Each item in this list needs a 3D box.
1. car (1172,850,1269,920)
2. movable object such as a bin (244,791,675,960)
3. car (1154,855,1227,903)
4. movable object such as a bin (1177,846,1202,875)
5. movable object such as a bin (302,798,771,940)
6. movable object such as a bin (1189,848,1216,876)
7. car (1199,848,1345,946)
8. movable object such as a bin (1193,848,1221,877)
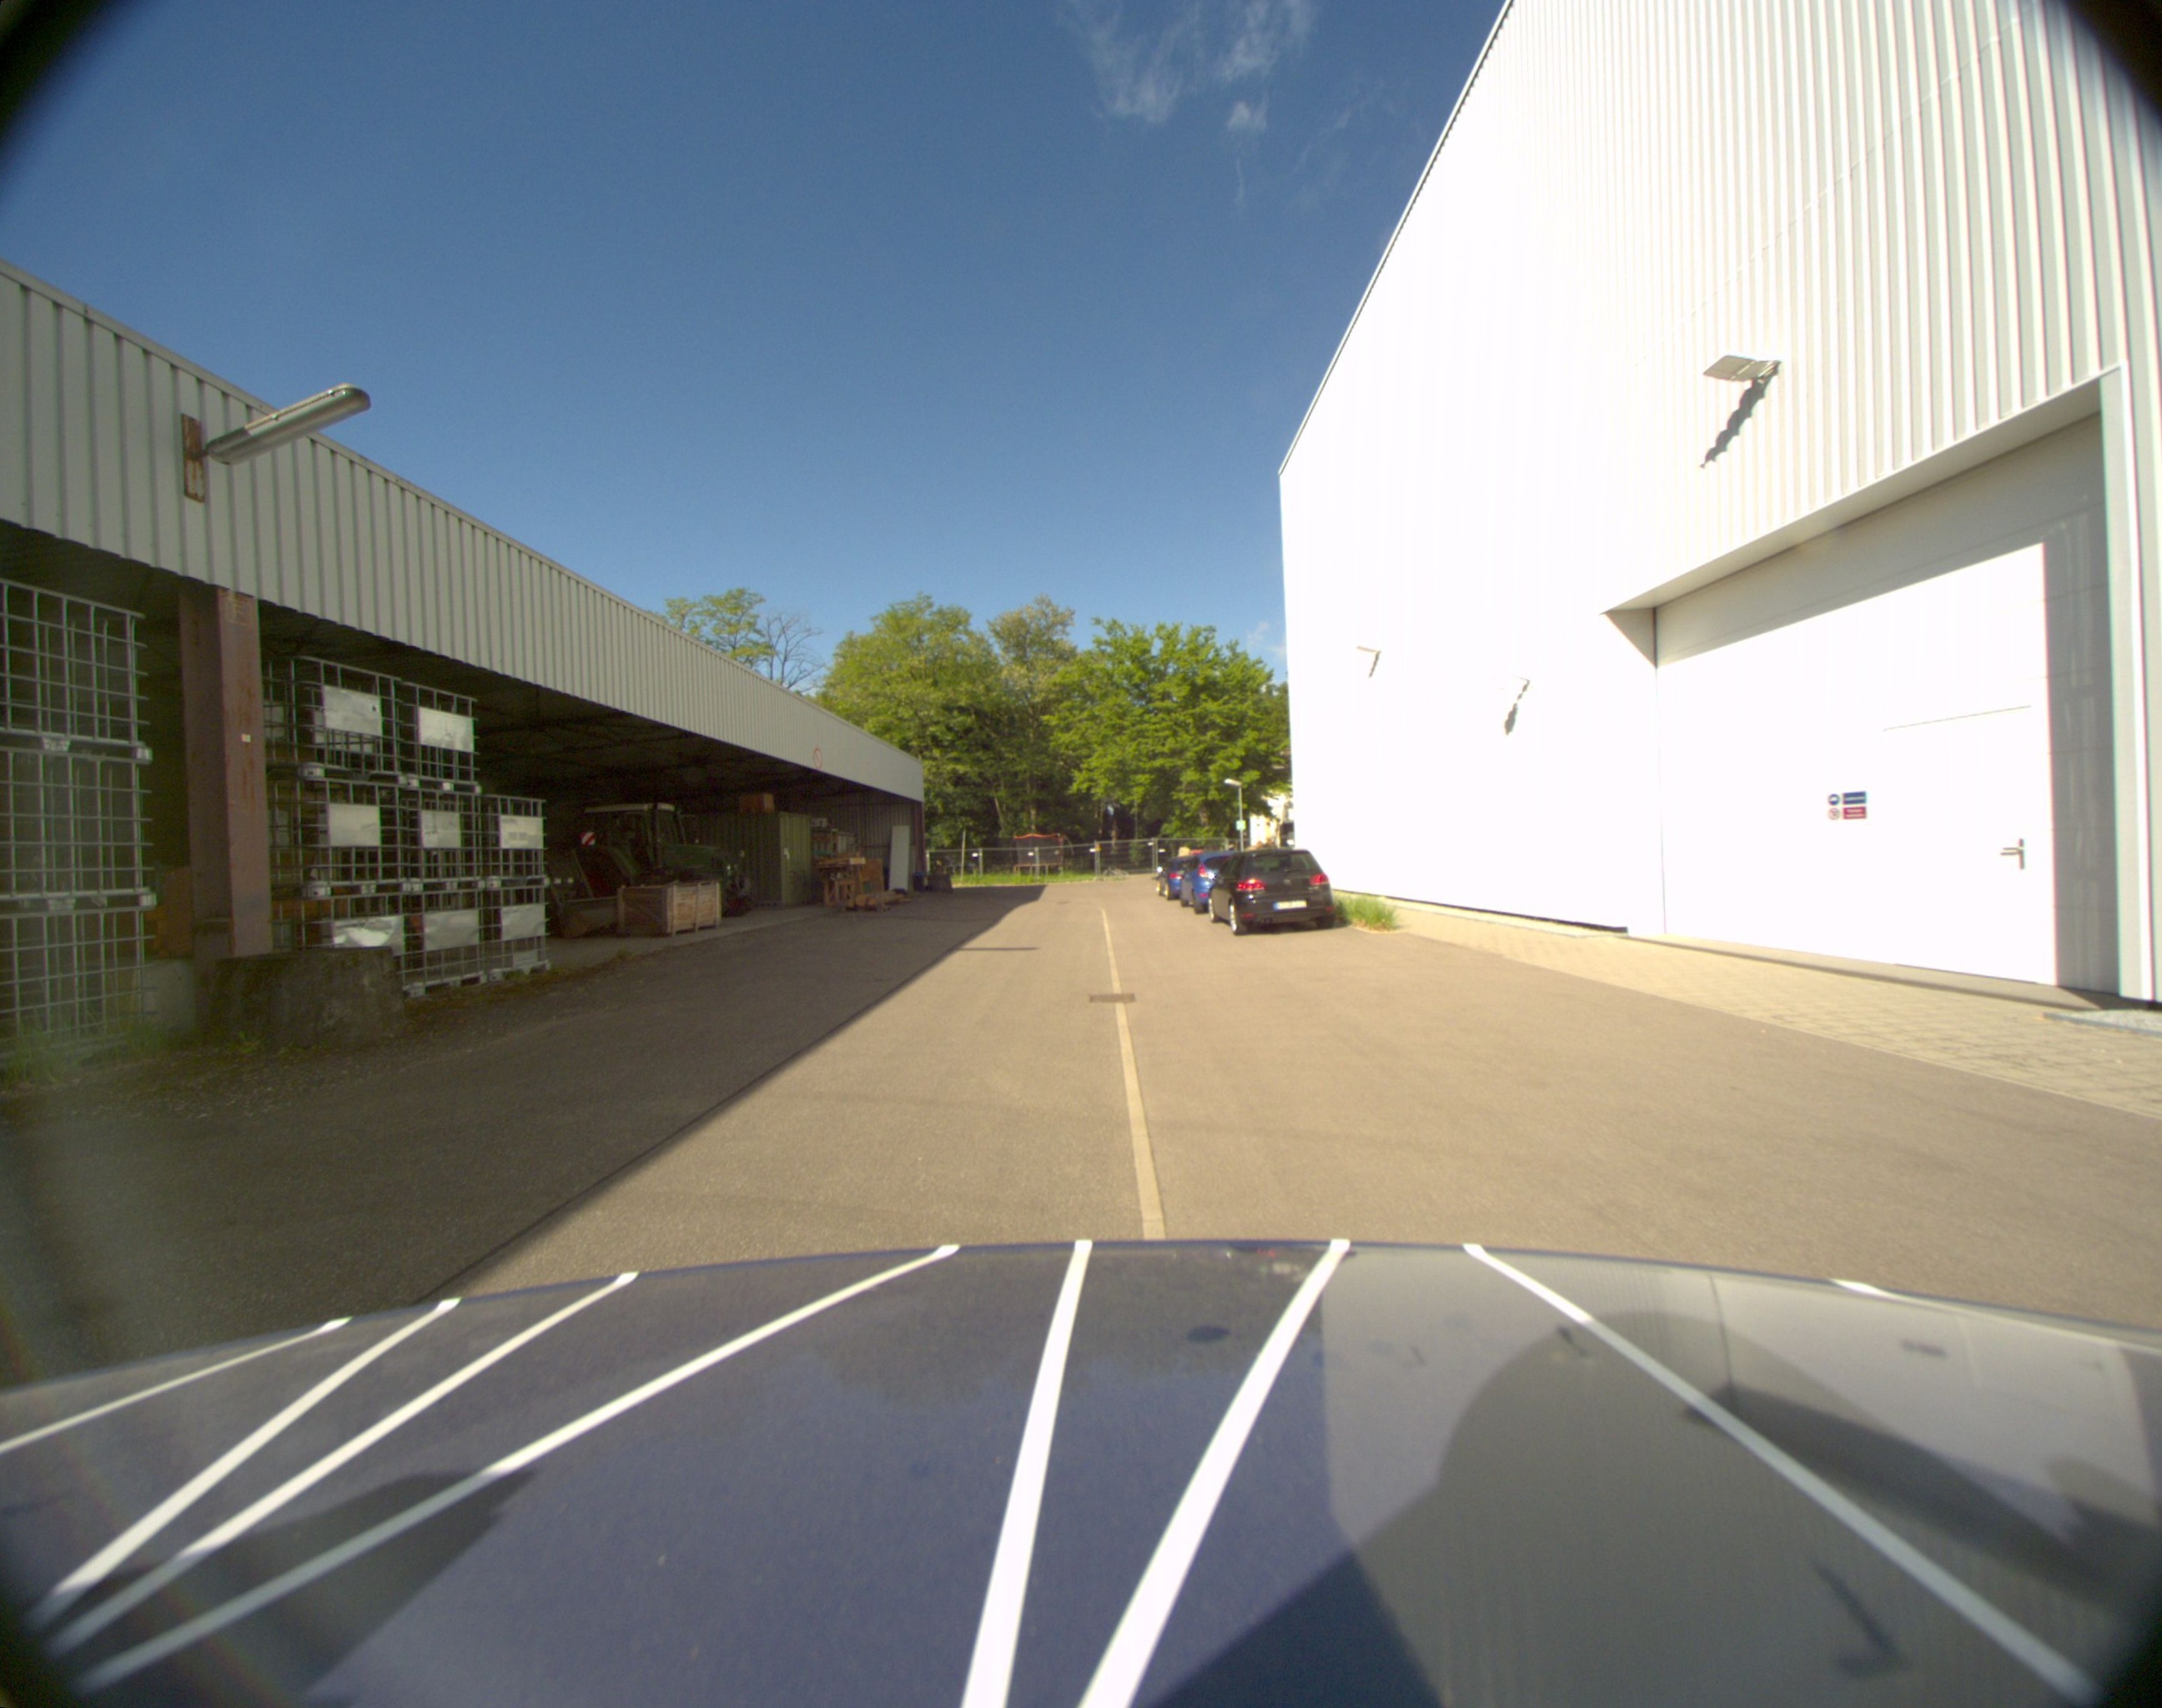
[{"bbox_3d":[3.454,0.710,19.544,1.635,1.491,4.094,-5,0,0],"label":"car"},{"bbox_3d":[-12.215,0.404,15.421,6.200,2.893,3.016,-2,1,2],"label":"movable object such as a bin"},{"bbox_3d":[3.500,0.755,24.956,1.778,1.353,4.053,-3,0,0],"label":"car"},{"bbox_3d":[6.220,0.372,43.673,1.093,1.588,1.230,-3,3,-5],"label":"movable object such as a bin"},{"bbox_3d":[-12.971,0.350,18.737,9.214,2.893,3.212,-2,0,2],"label":"movable object such as a bin"},{"bbox_3d":[6.670,0.425,41.769,1.093,1.431,1.230,-4,1,-5],"label":"movable object such as a bin"},{"bbox_3d":[3.473,0.701,14.647,1.759,1.491,4.294,-4,0,1],"label":"car"},{"bbox_3d":[6.689,0.428,40.435,1.093,1.424,1.230,-4,1,-5],"label":"movable object such as a bin"}]
